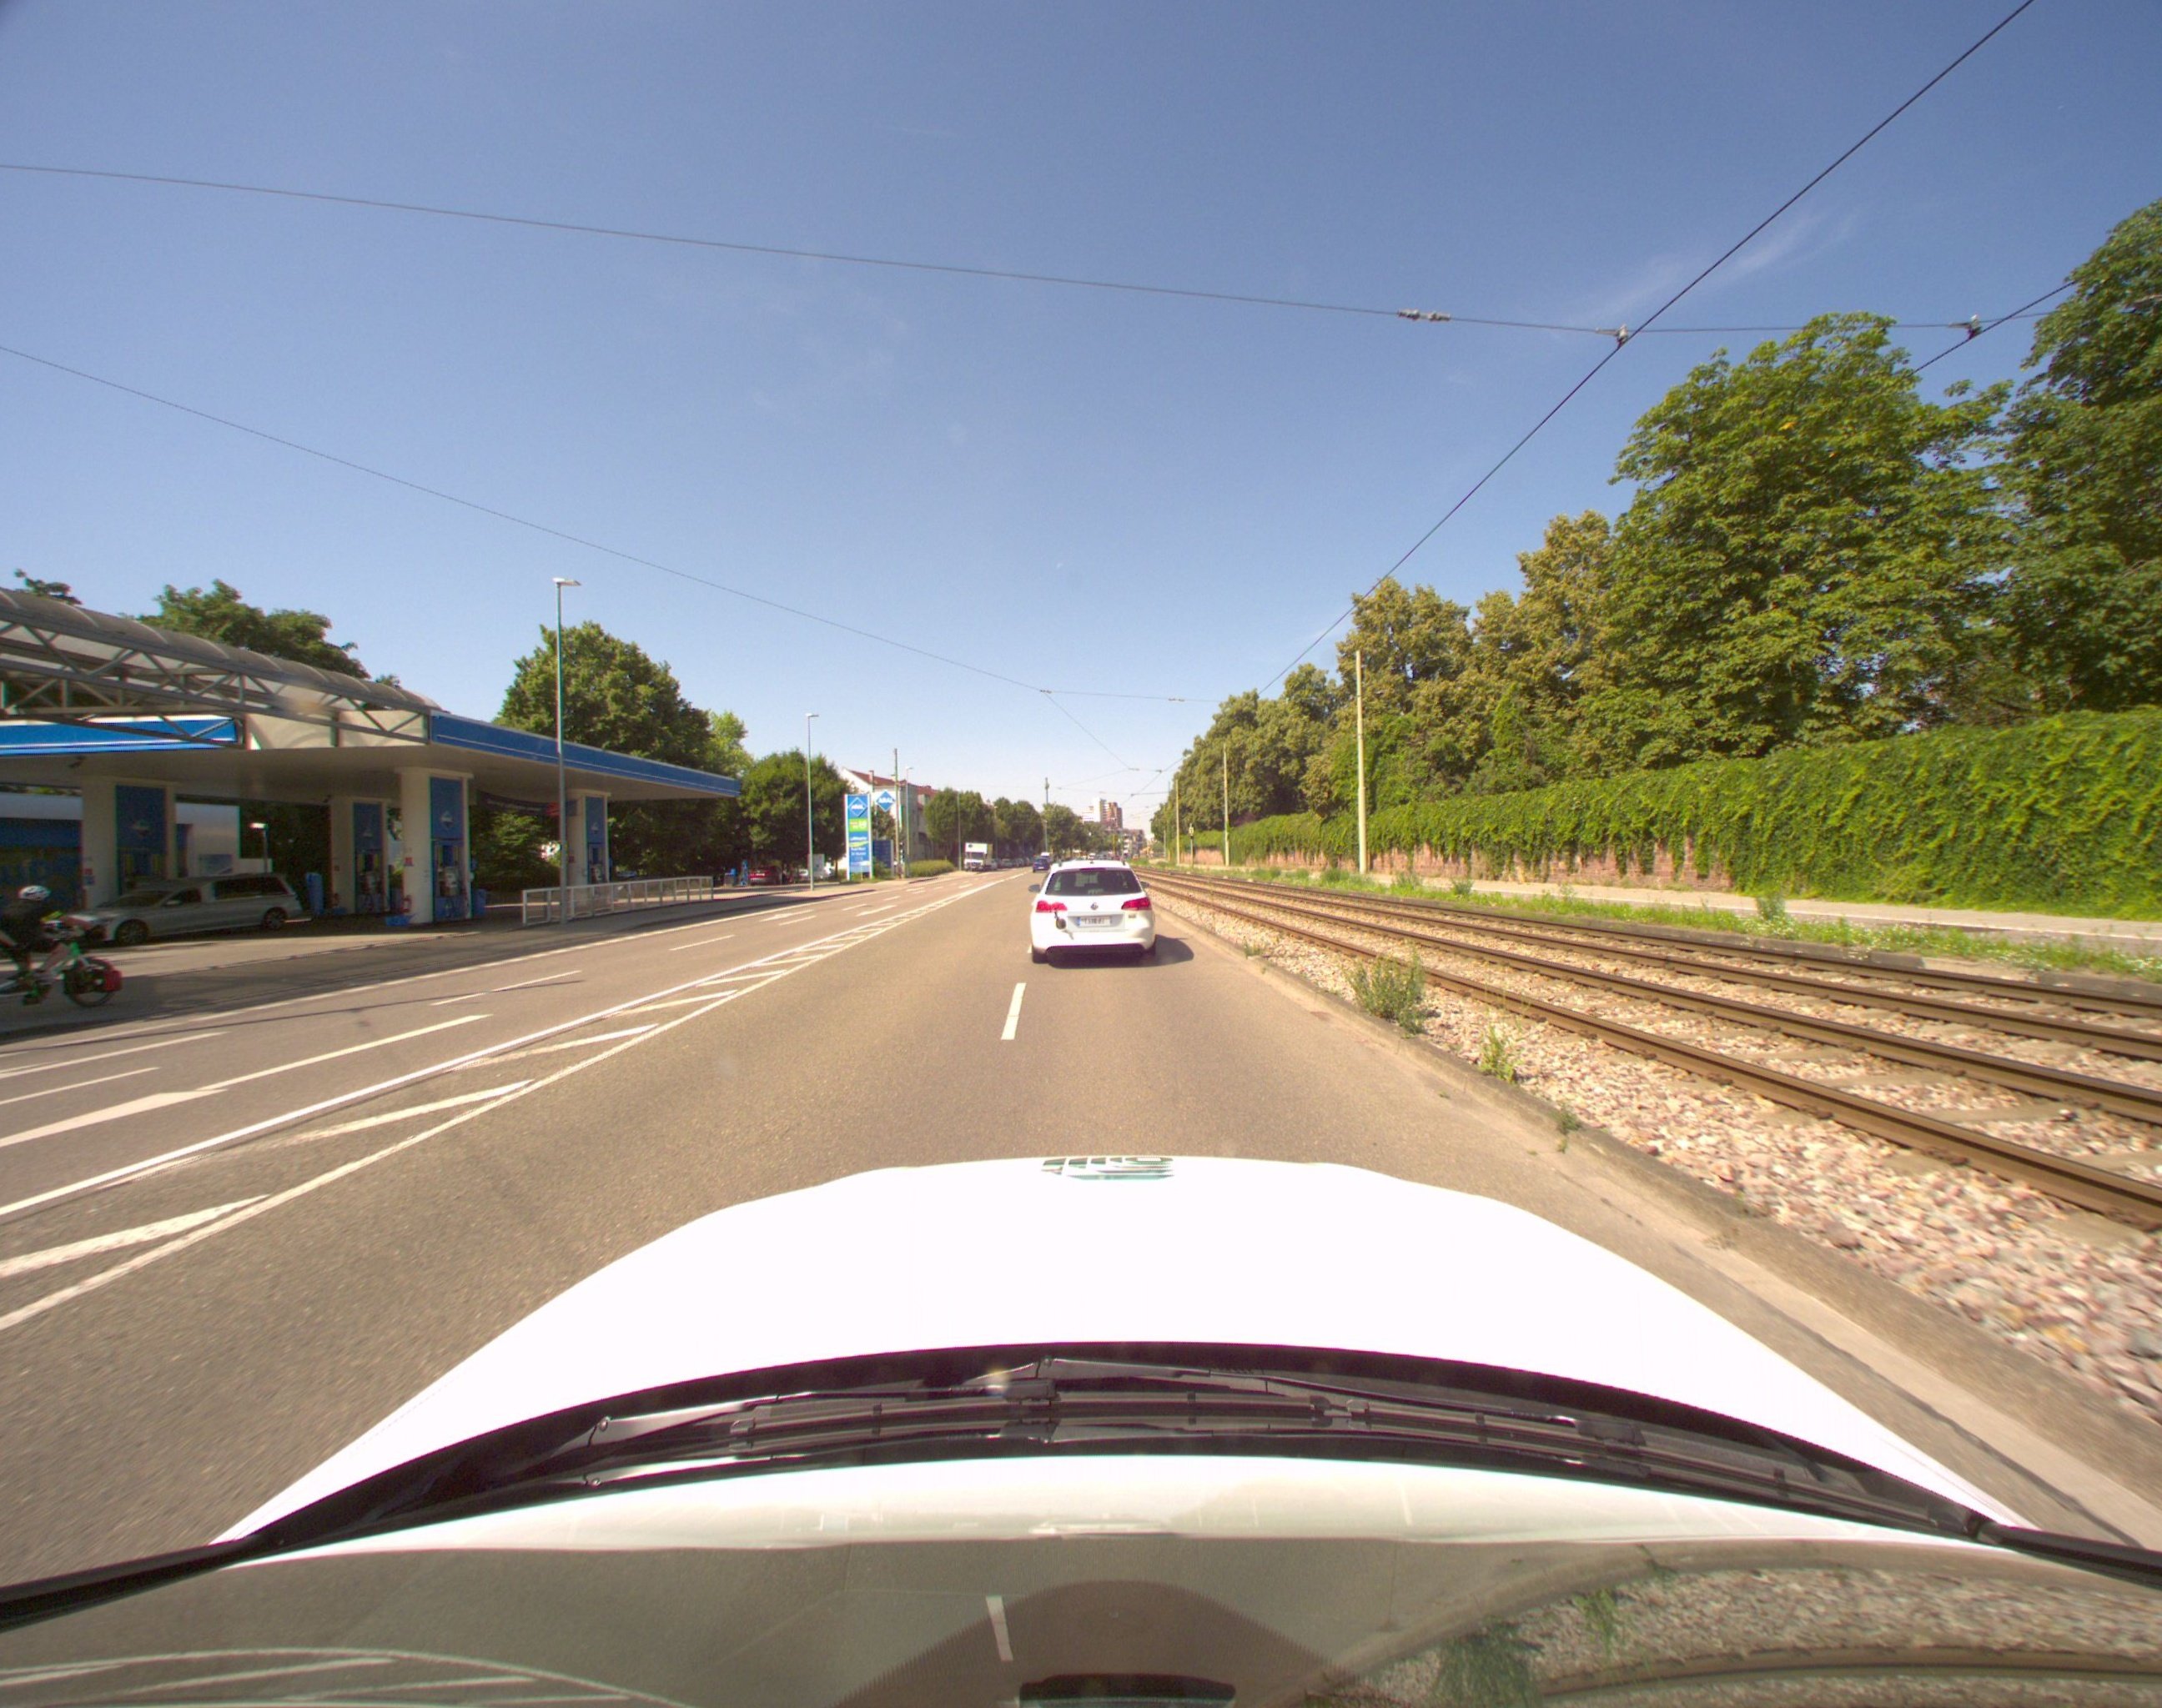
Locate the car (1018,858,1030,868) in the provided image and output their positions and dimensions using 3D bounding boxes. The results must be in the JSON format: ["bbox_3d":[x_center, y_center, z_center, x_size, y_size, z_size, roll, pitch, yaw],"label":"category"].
[{"bbox_3d":[-10.503,1.688,150.392,1.762,1.723,4.873,0,0,3],"label":"car"}]

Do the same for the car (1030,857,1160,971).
[{"bbox_3d":[0.176,0.793,12.851,1.686,1.451,4.457,-1,0,0],"label":"car"}]

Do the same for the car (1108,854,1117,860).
[{"bbox_3d":[8.004,0.651,207.479,1.791,1.460,4.008,-1,0,7],"label":"car"}]

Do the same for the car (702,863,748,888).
[{"bbox_3d":[-38.484,2.323,88.026,4.145,2.538,1.794,-2,0,12],"label":"car"}]

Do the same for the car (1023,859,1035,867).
[{"bbox_3d":[-9.977,1.798,155.857,1.682,1.474,4.054,1,0,5],"label":"car"}]

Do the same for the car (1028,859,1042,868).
[{"bbox_3d":[-9.126,1.820,160.968,1.790,1.724,4.921,1,0,8],"label":"car"}]

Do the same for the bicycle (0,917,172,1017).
[{"bbox_3d":[-14.016,1.509,10.834,0.823,1.094,2.768,-2,0,-4],"label":"bicycle"}]

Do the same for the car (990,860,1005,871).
[{"bbox_3d":[-12.407,1.724,121.581,1.725,1.552,4.318,-1,0,0],"label":"car"}]

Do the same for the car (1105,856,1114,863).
[{"bbox_3d":[7.014,1.349,201.824,1.791,1.507,4.008,-1,0,7],"label":"car"}]

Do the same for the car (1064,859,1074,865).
[{"bbox_3d":[-3.109,2.037,205.030,1.689,1.417,4.012,-2,-1,11],"label":"car"}]

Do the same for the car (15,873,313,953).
[{"bbox_3d":[-25.660,1.536,23.279,1.839,1.781,5.960,-2,0,-2],"label":"car"}]

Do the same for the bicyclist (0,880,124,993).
[{"bbox_3d":[-13.990,1.096,11.101,0.845,1.435,0.831,-1,1,-4],"label":"bicyclist"}]

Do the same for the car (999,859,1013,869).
[{"bbox_3d":[-12.108,1.633,132.225,1.774,1.483,4.857,0,-1,1],"label":"car"}]

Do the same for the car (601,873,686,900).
[{"bbox_3d":[-26.292,1.935,49.097,1.784,1.346,4.266,-2,0,22],"label":"car"}]

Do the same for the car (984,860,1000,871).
[{"bbox_3d":[-12.531,1.585,114.657,1.752,1.429,4.280,0,0,0],"label":"car"}]

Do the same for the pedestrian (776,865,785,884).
[{"bbox_3d":[-24.526,1.683,66.546,0.497,1.481,0.500,-2,0,-1],"label":"pedestrian"}]

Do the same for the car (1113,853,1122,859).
[{"bbox_3d":[9.697,0.443,215.722,1.791,1.460,4.008,-2,0,7],"label":"car"}]

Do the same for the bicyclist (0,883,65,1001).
[{"bbox_3d":[-13.929,1.114,10.377,0.845,1.435,0.832,-1,1,-3],"label":"bicyclist"}]

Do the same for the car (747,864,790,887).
[{"bbox_3d":[-25.285,1.695,66.034,1.794,1.570,4.516,-2,1,-1],"label":"car"}]

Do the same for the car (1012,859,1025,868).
[{"bbox_3d":[-11.065,1.710,144.867,1.709,1.625,4.317,0,0,4],"label":"car"}]

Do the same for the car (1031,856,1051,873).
[{"bbox_3d":[-3.941,1.041,80.871,1.794,1.507,4.000,-1,1,0],"label":"car"}]

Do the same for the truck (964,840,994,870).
[{"bbox_3d":[-12.653,0.169,101.407,2.658,3.530,8.588,0,0,0],"label":"truck"}]

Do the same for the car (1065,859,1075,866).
[{"bbox_3d":[-2.394,1.844,181.507,1.651,1.420,4.315,-4,0,4],"label":"car"}]
